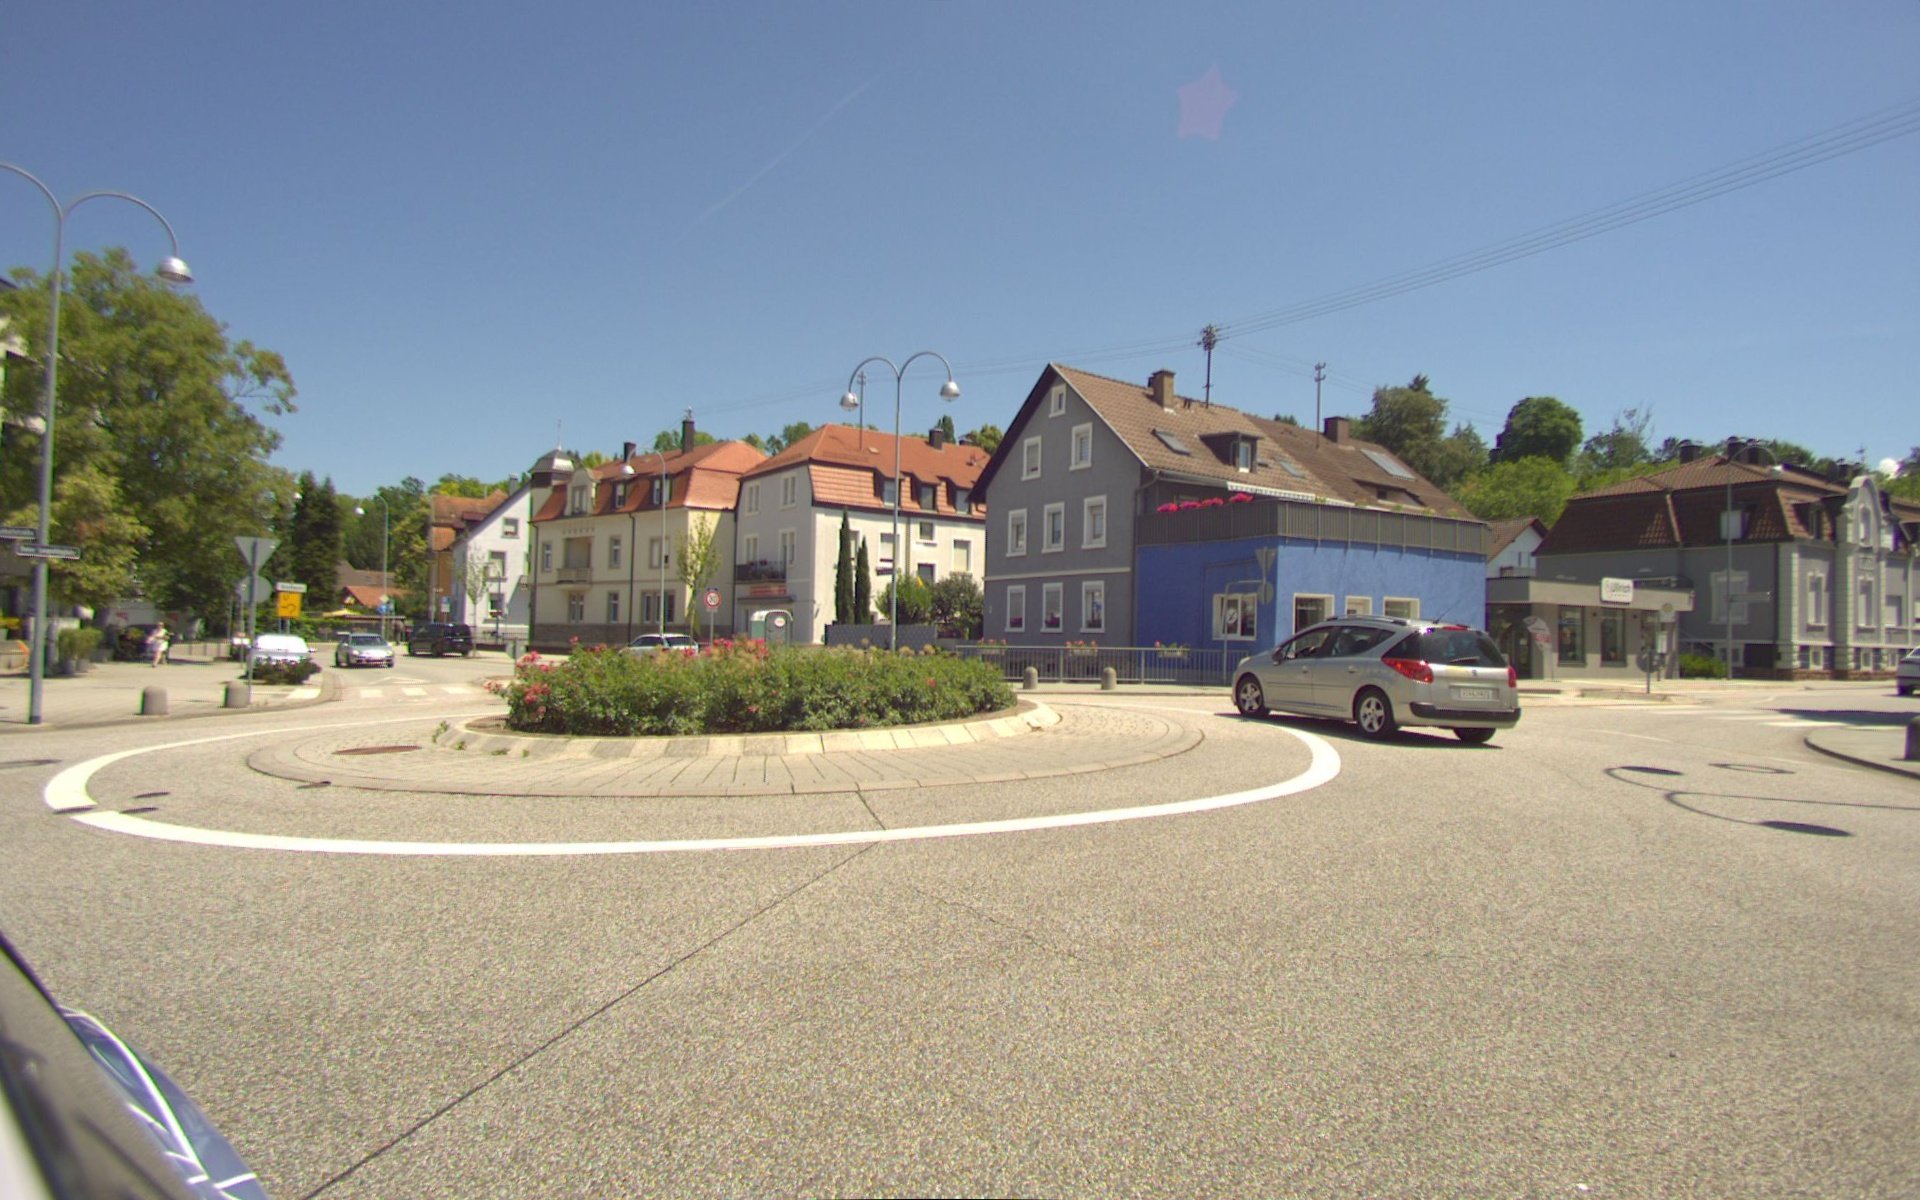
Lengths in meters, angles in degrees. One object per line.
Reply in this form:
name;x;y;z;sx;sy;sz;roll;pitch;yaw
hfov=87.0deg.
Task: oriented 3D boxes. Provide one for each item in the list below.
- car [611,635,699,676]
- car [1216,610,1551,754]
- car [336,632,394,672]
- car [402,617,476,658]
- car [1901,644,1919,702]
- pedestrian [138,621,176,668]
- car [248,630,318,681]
car;-11.944;2.139;39.478;1.585;1.402;4.082;-1;0;-44
car;5.292;0.959;13.344;1.716;1.528;4.220;4;-2;-17
car;-26.041;2.250;44.402;1.965;1.668;4.217;2;-3;-28
car;-28.431;2.039;55.173;3.993;2.029;1.975;2;-1;36
car;29.991;2.177;30.308;4.337;1.674;1.909;2;-2;-37
pedestrian;-28.883;1.610;36.400;0.934;1.661;0.821;2;-2;-31
car;-22.046;1.746;32.909;1.767;1.536;4.010;2;-2;-35
